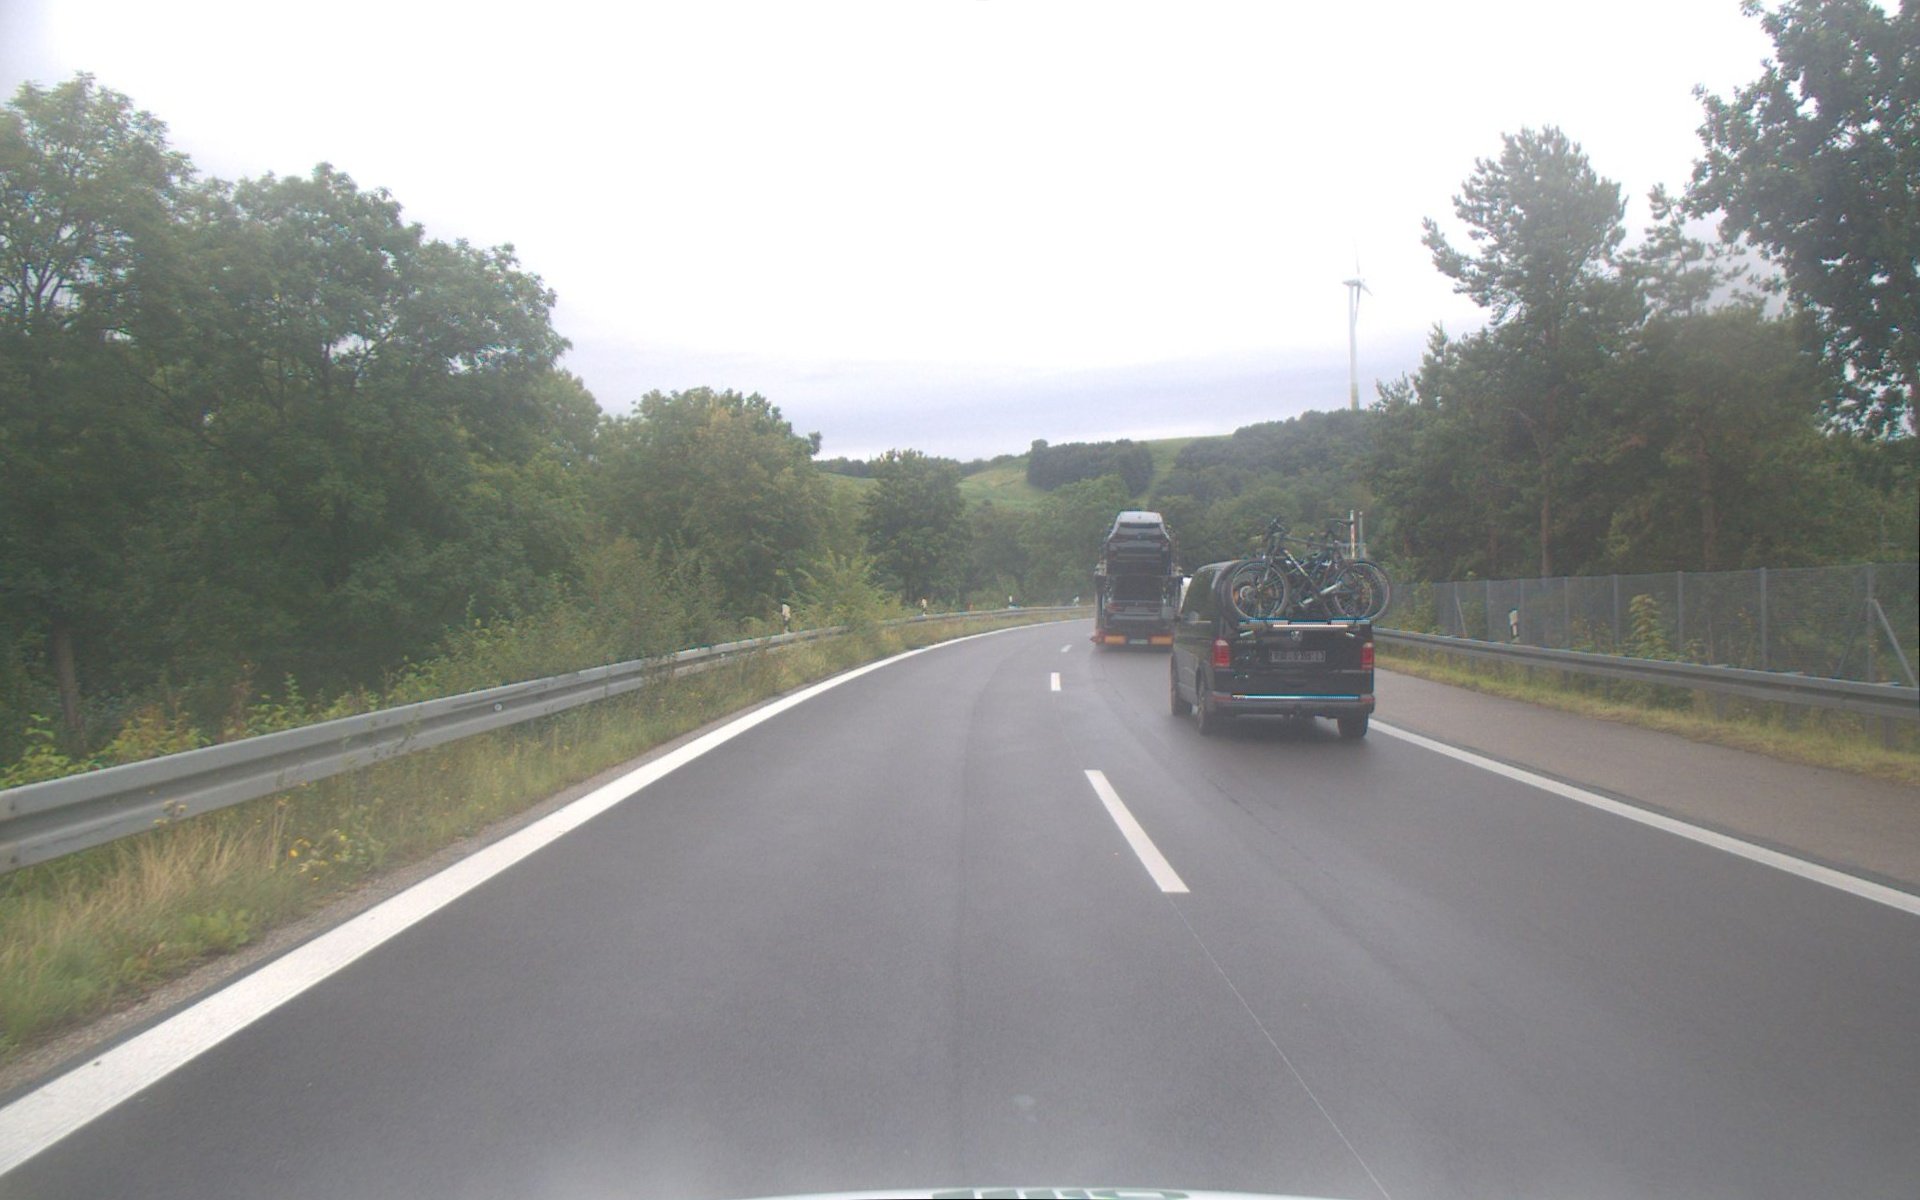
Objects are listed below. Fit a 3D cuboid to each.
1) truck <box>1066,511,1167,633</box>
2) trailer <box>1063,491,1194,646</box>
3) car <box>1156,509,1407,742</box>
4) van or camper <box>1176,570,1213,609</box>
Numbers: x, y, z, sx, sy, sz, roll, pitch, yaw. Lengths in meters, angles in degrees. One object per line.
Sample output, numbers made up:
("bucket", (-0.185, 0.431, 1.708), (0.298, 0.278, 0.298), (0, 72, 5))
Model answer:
("truck", (5.688, -1.010, 61.722), (3.323, 4.069, 10.852), (1, 1, 4))
("trailer", (4.912, -0.904, 50.333), (3.376, 4.069, 12.033), (1, 1, 4))
("car", (3.605, 0.219, 19.699), (2.066, 2.304, 5.899), (1, 1, 3))
("van or camper", (14.083, -0.620, 99.581), (2.048, 2.270, 4.434), (1, 0, 7))
